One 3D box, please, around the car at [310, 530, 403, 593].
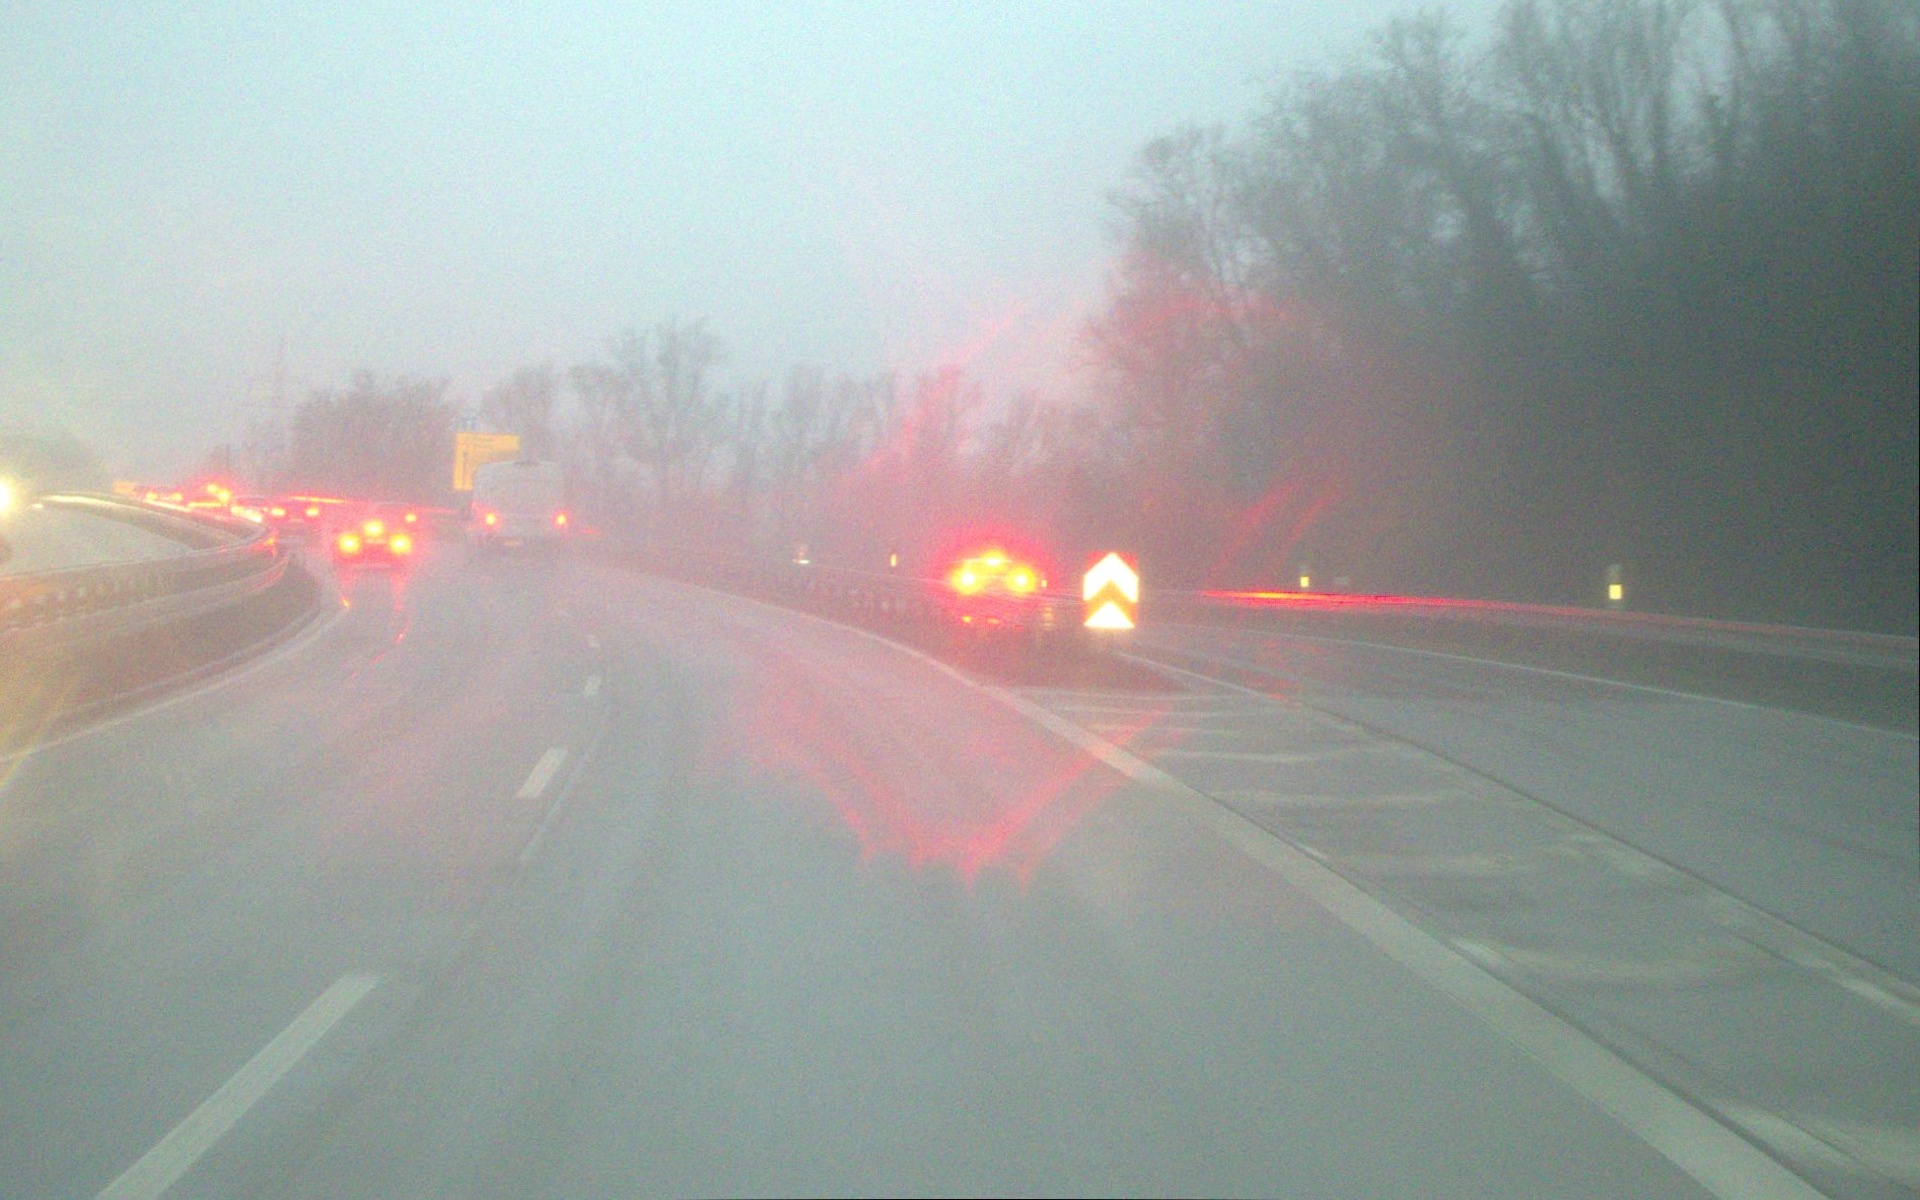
[{"bbox_3d":[-15.561,-0.973,88.533,1.834,1.532,4.001,2,0,-17],"label":"car"}]
